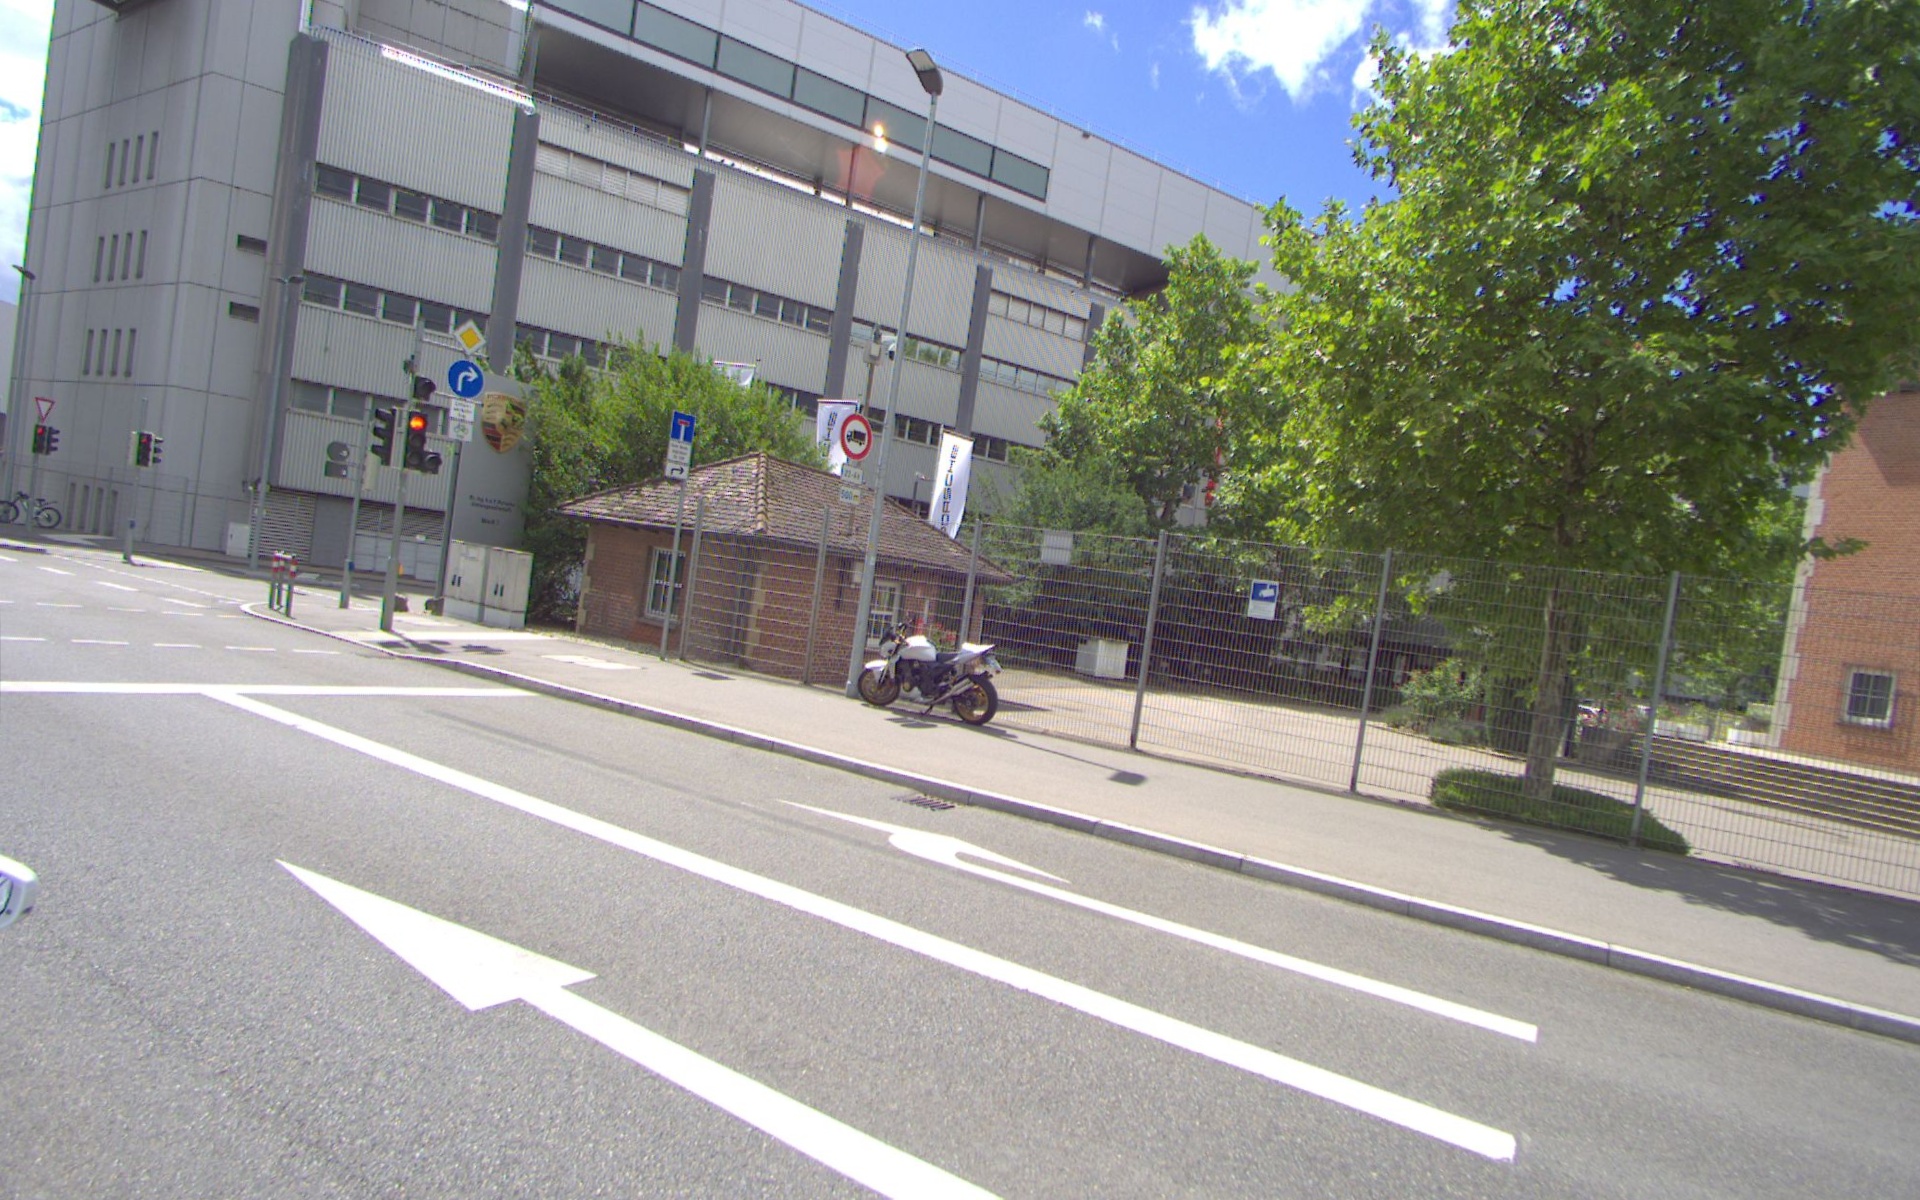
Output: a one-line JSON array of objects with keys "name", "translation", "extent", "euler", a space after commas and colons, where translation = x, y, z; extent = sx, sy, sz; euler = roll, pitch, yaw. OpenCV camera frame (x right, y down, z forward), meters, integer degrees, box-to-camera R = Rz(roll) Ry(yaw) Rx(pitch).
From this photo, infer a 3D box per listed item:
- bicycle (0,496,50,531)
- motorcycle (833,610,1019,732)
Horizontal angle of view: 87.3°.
[{"name": "bicycle", "translation": [-31.125, -2.888, 33.178], "extent": [1.892, 0.948, 0.399], "euler": [8, 0, 6]}, {"name": "motorcycle", "translation": [-0.439, 0.841, 12.419], "extent": [2.110, 1.173, 0.693], "euler": [7, 2, 27]}]
